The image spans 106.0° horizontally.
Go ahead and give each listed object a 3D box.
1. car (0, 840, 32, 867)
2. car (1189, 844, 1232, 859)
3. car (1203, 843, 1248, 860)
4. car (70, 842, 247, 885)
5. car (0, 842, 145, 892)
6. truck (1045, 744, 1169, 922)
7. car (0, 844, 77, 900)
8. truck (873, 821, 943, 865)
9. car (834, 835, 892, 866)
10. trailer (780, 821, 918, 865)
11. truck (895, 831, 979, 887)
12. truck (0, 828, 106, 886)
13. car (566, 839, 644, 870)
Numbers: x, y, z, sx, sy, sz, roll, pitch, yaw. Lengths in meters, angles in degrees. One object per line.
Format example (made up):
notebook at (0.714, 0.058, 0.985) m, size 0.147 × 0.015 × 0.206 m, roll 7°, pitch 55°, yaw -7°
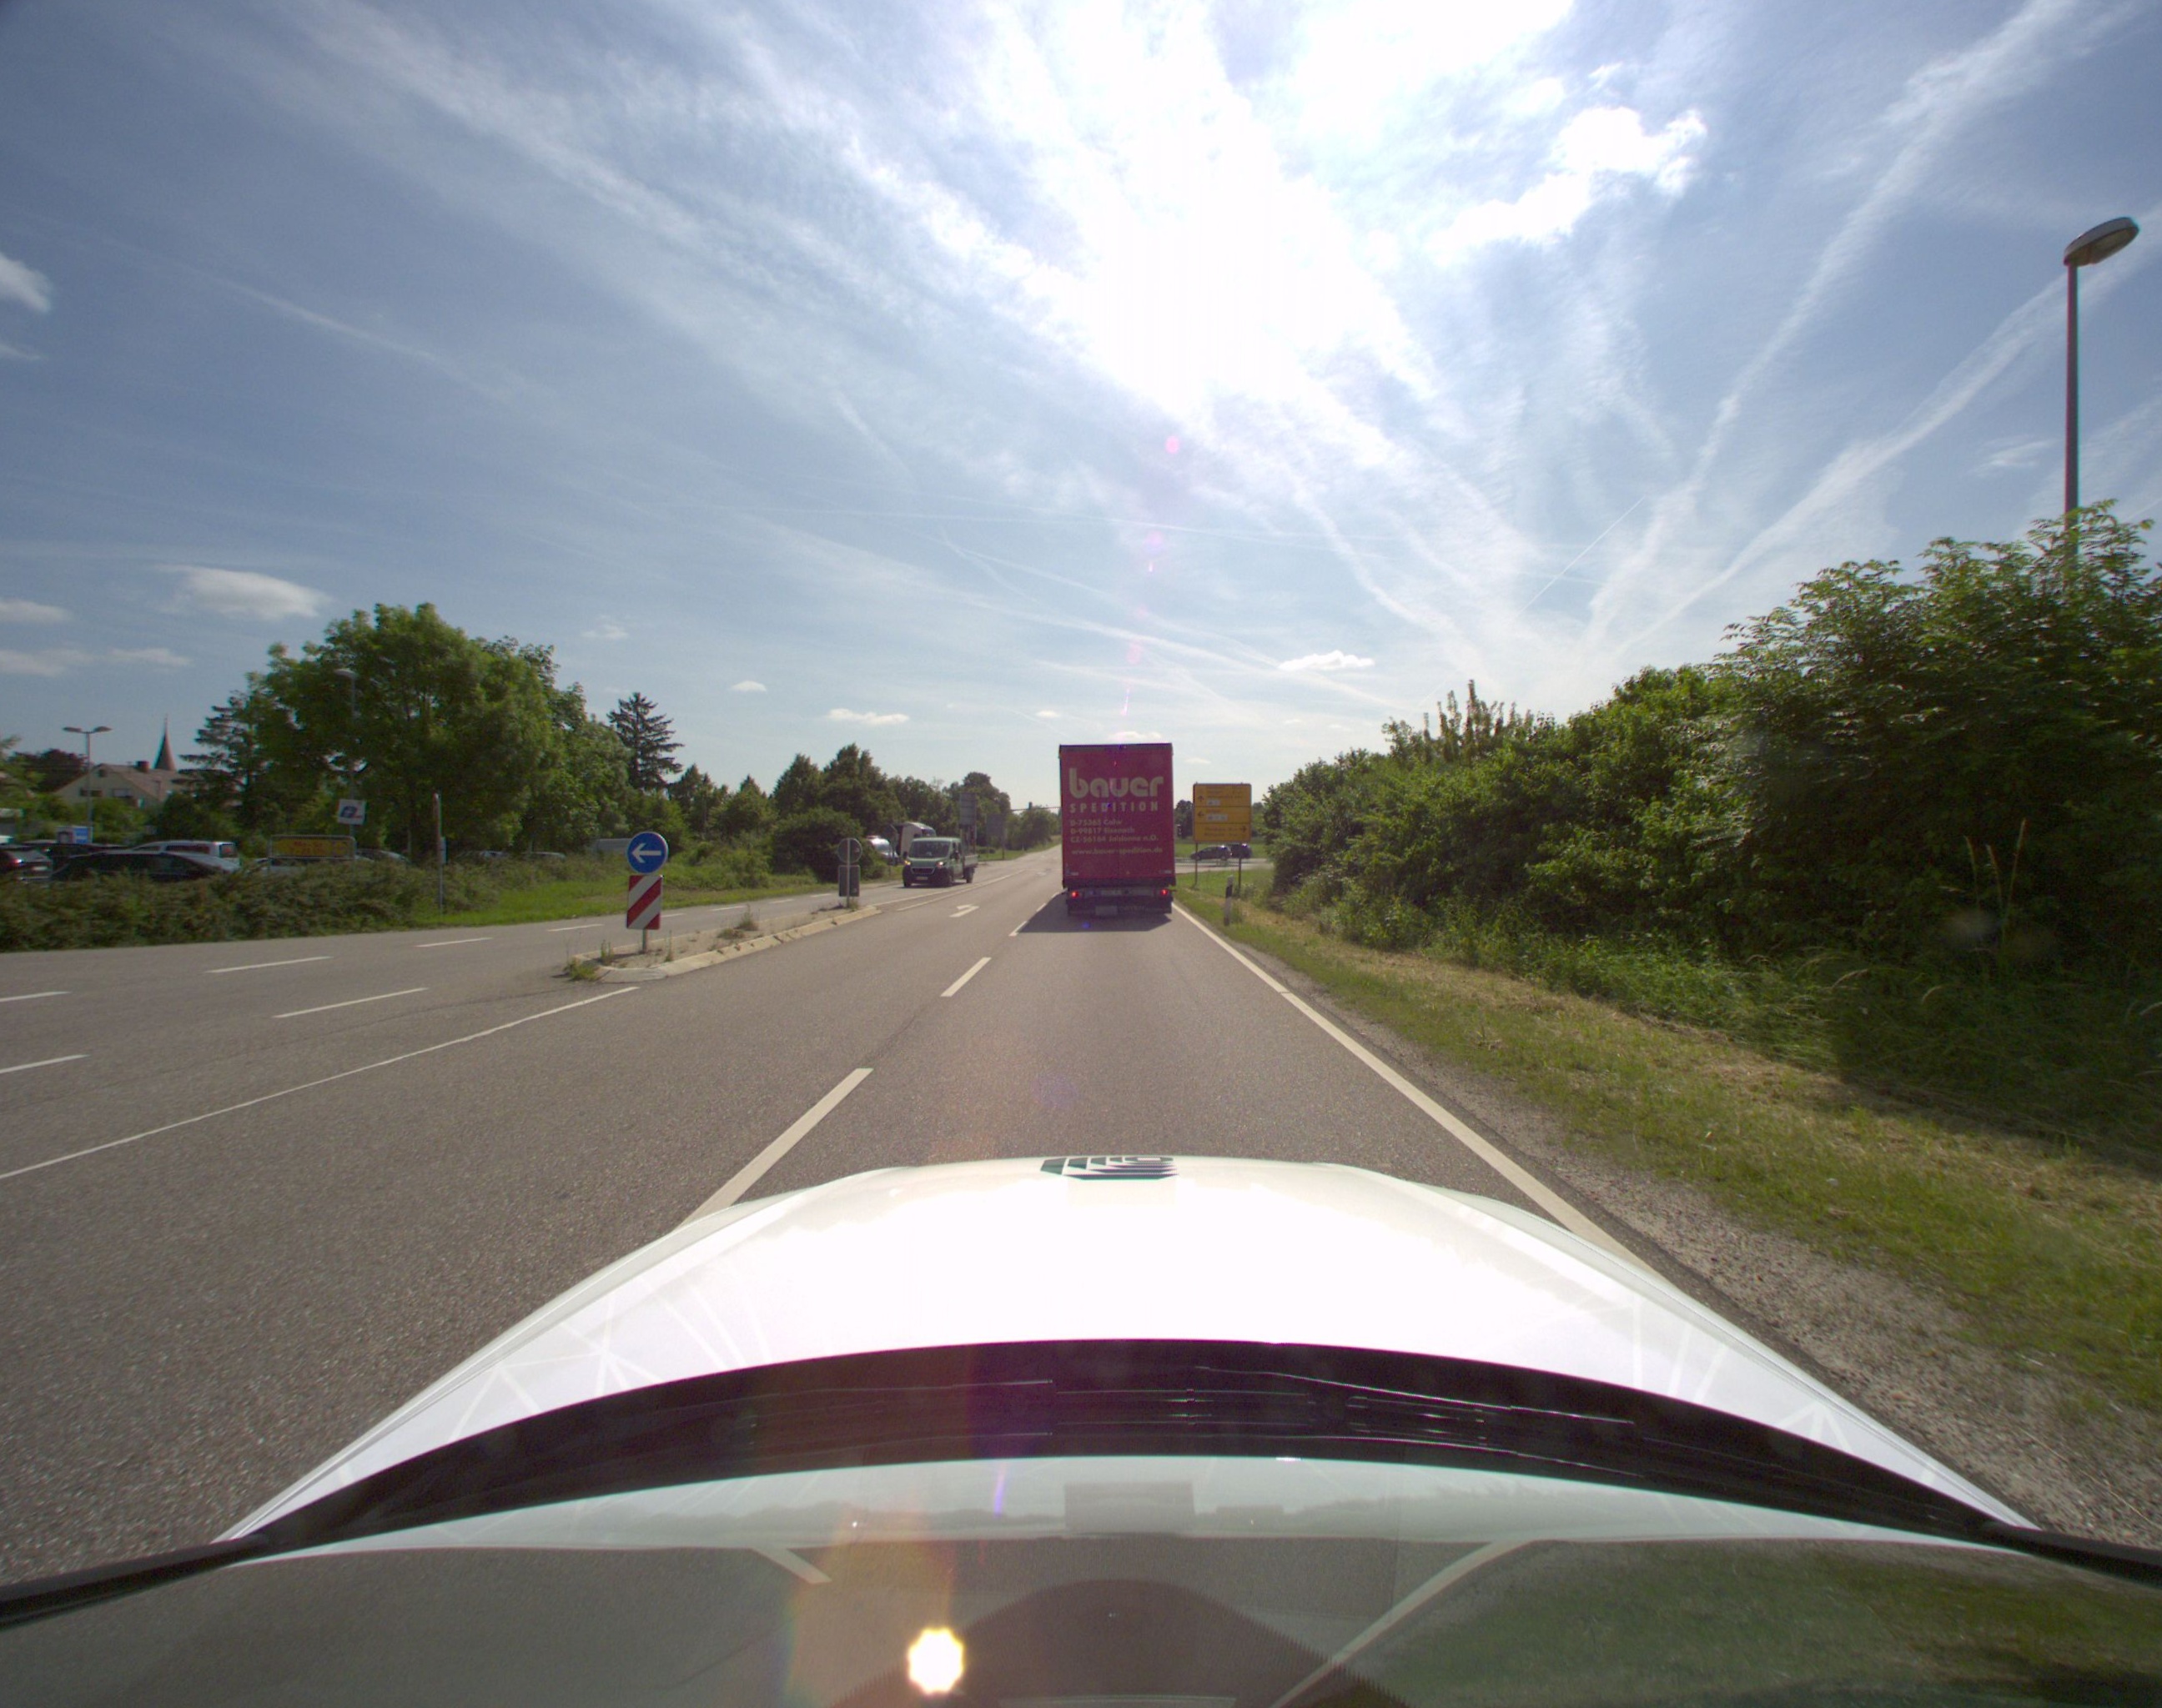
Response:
car at (-72.265, -0.034, 53.819) m, size 1.900 × 1.759 × 3.969 m, roll 0°, pitch -1°, yaw -23°
car at (12.589, -0.269, 79.102) m, size 3.958 × 1.429 × 2.008 m, roll 0°, pitch 0°, yaw 14°
car at (14.852, -0.235, 83.744) m, size 4.232 × 1.656 × 1.711 m, roll -1°, pitch -1°, yaw 34°
car at (-38.523, 0.349, 34.181) m, size 4.435 × 1.695 × 1.984 m, roll 0°, pitch 0°, yaw -25°
car at (-36.061, 0.447, 28.421) m, size 3.999 × 1.688 × 1.914 m, roll 0°, pitch -1°, yaw -19°
truck at (0.734, -0.559, 26.511) m, size 2.725 × 3.925 × 16.629 m, roll -1°, pitch 1°, yaw 1°
car at (-34.499, 0.531, 25.110) m, size 3.998 × 1.674 × 1.900 m, roll 1°, pitch 0°, yaw -19°
truck at (-16.267, -1.066, 76.835) m, size 5.777 × 4.061 × 2.812 m, roll 0°, pitch 1°, yaw 19°
car at (-19.136, -0.327, 71.332) m, size 5.911 × 2.654 × 2.137 m, roll 1°, pitch 0°, yaw 44°
trailer at (-22.572, -1.070, 78.972) m, size 13.574 × 4.061 × 2.812 m, roll 0°, pitch 1°, yaw 18°
truck at (-6.485, 0.199, 37.651) m, size 2.231 × 2.375 × 6.359 m, roll 0°, pitch 0°, yaw 5°
truck at (-44.408, 0.137, 34.141) m, size 4.006 × 2.365 × 1.984 m, roll 0°, pitch -1°, yaw -25°
car at (-34.629, 0.032, 59.397) m, size 4.600 × 2.180 × 1.986 m, roll 0°, pitch 0°, yaw -22°
